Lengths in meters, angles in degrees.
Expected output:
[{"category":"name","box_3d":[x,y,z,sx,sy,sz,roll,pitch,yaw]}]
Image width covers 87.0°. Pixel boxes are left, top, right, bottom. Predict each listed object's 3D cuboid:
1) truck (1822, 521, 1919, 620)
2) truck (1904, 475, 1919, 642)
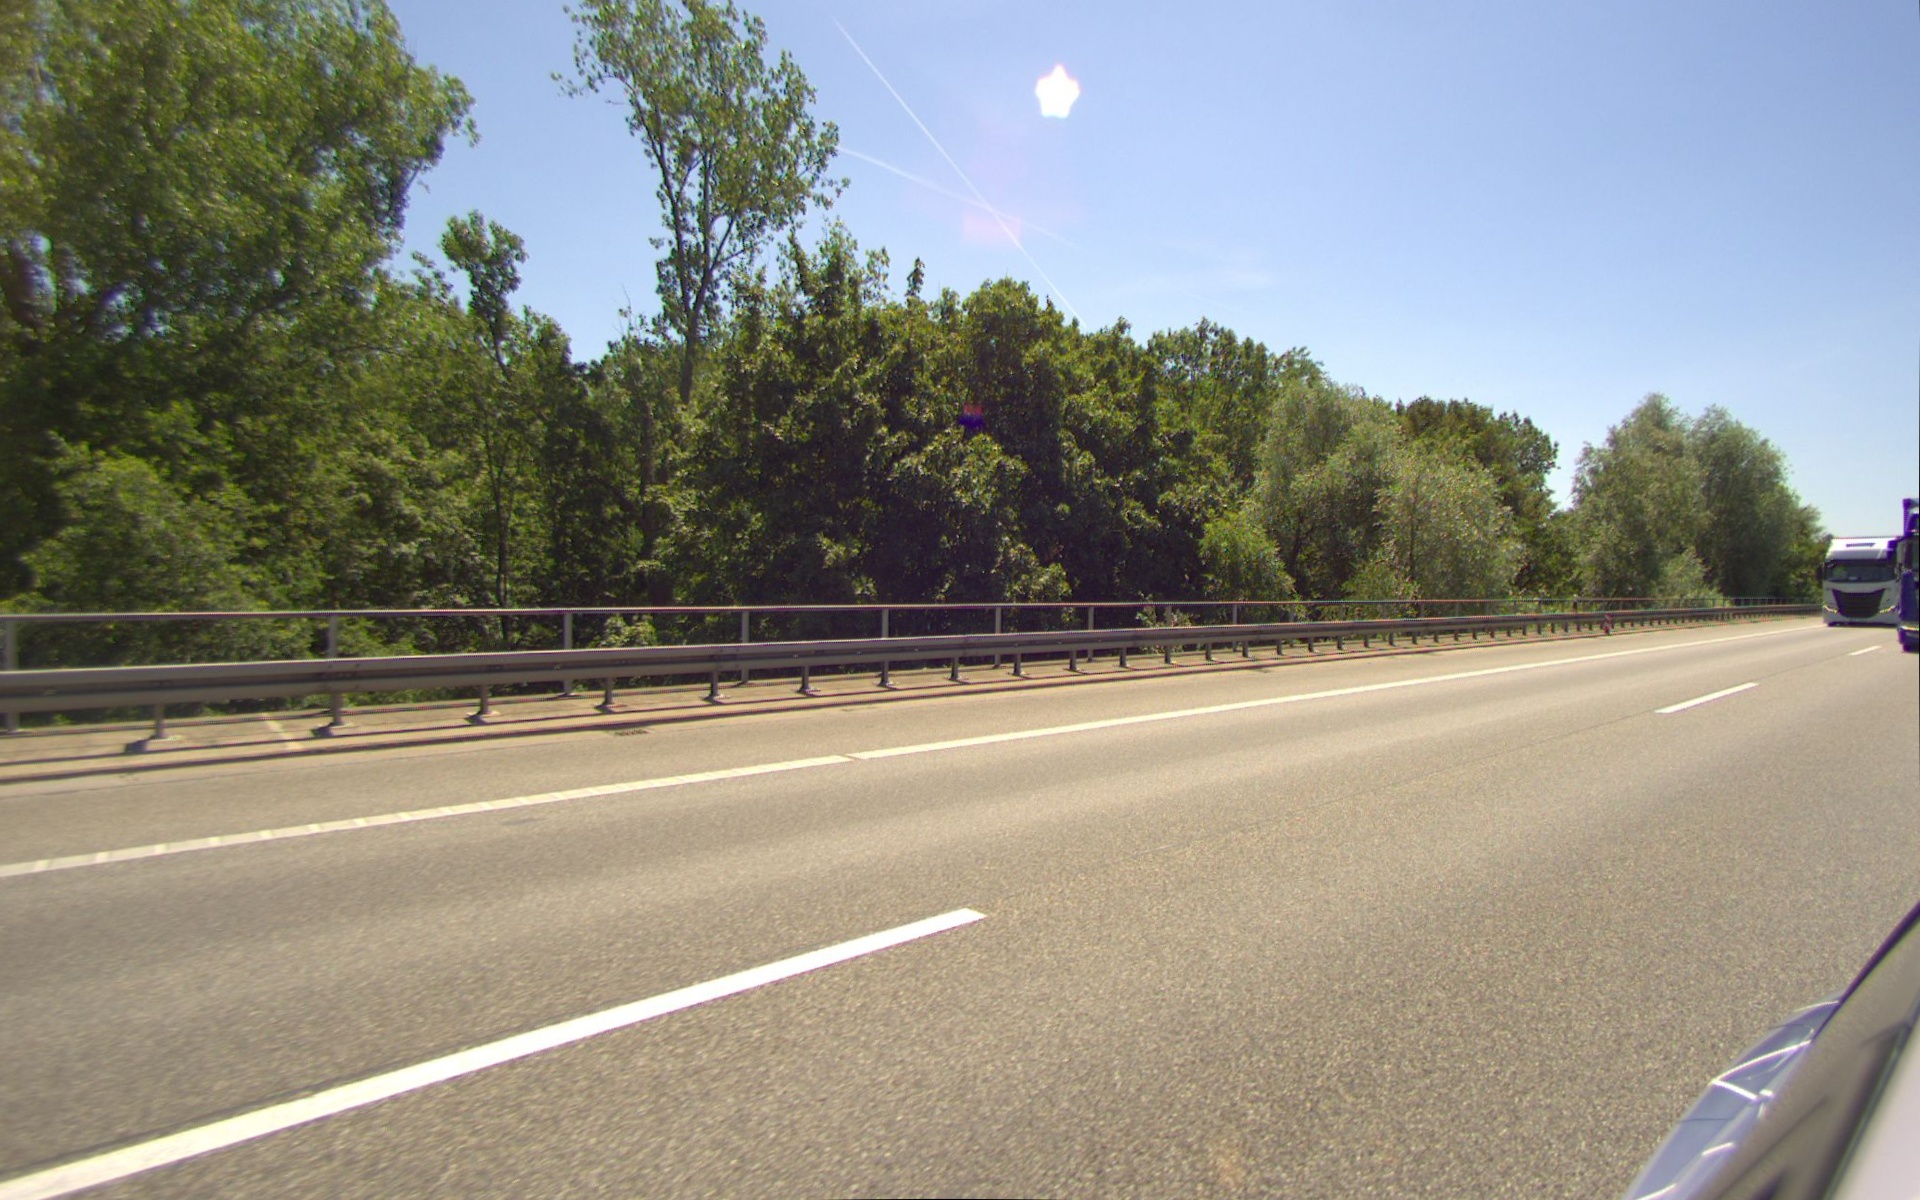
[{"category":"truck","box_3d":[42.920,-1.295,47.262,10.271,4.216,2.816,0,0,-43]},{"category":"truck","box_3d":[27.300,-1.056,26.911,6.872,4.170,2.704,0,0,-42]}]
